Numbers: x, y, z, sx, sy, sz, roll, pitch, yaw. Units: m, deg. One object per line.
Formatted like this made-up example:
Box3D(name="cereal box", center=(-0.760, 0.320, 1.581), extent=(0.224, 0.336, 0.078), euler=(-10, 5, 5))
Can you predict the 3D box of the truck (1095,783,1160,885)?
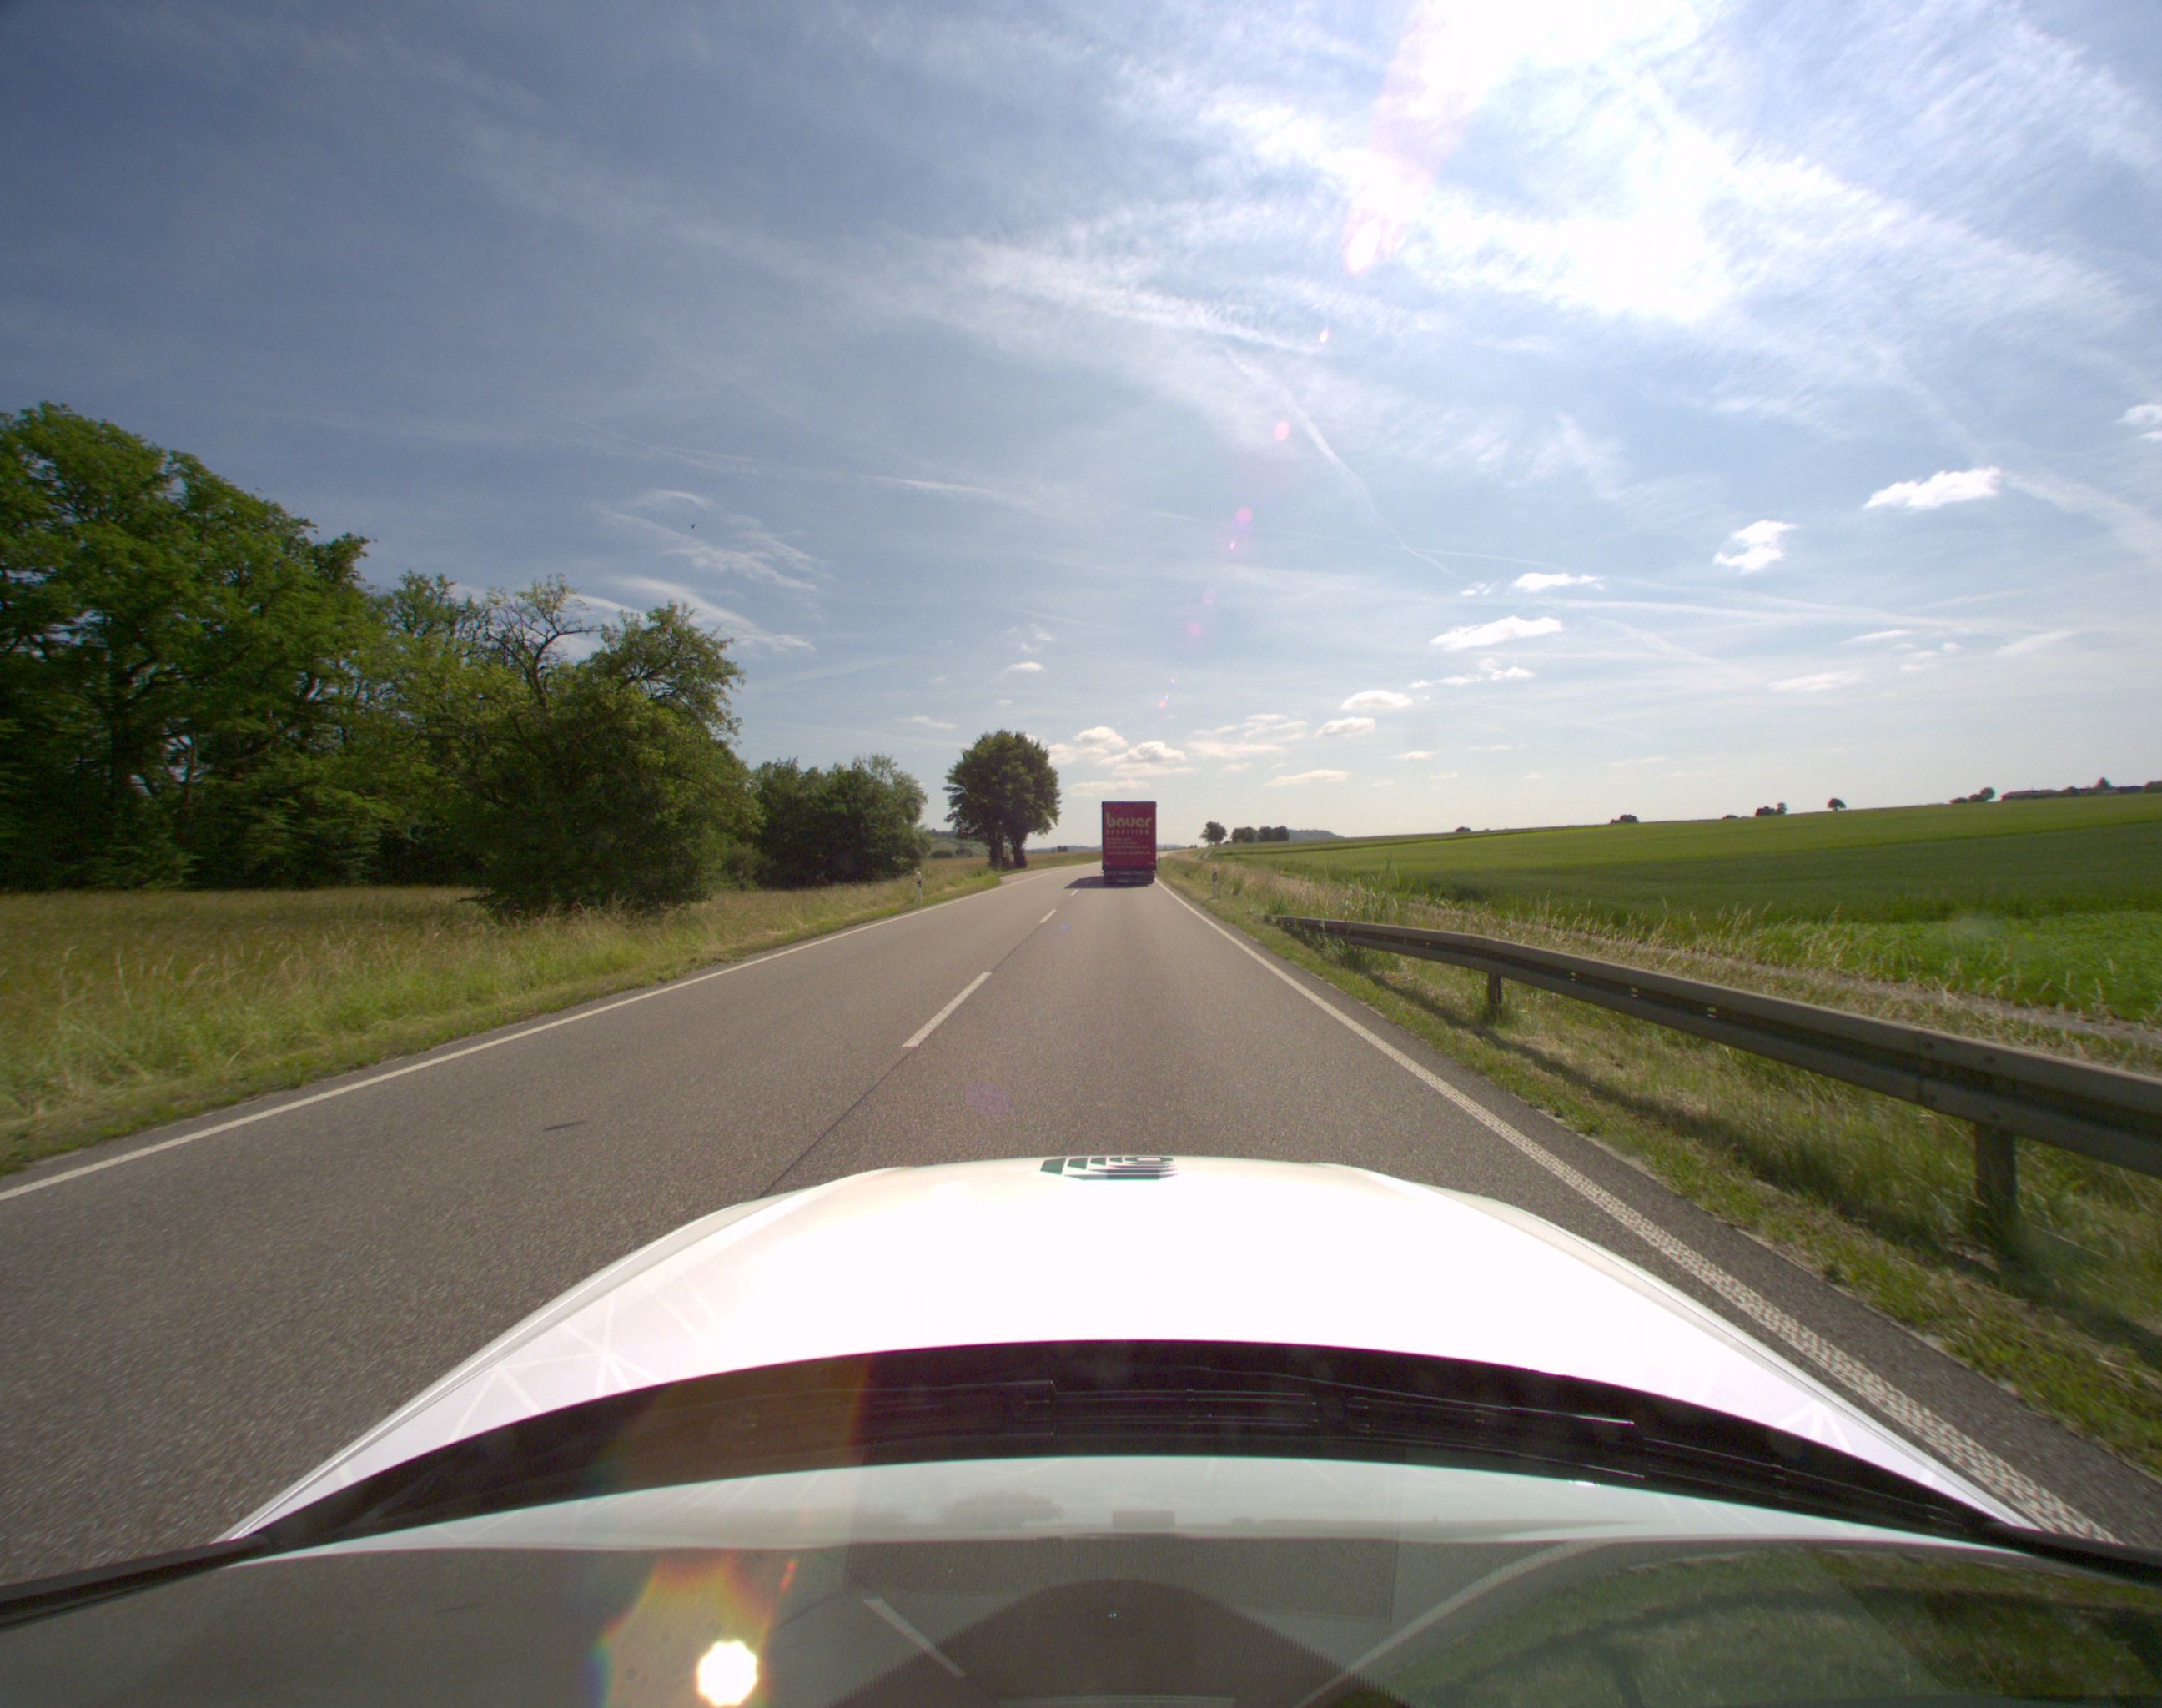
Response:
Box3D(name="truck", center=(2.244, -0.893, 42.191), extent=(2.964, 4.713, 9.367), euler=(0, -1, 1))
